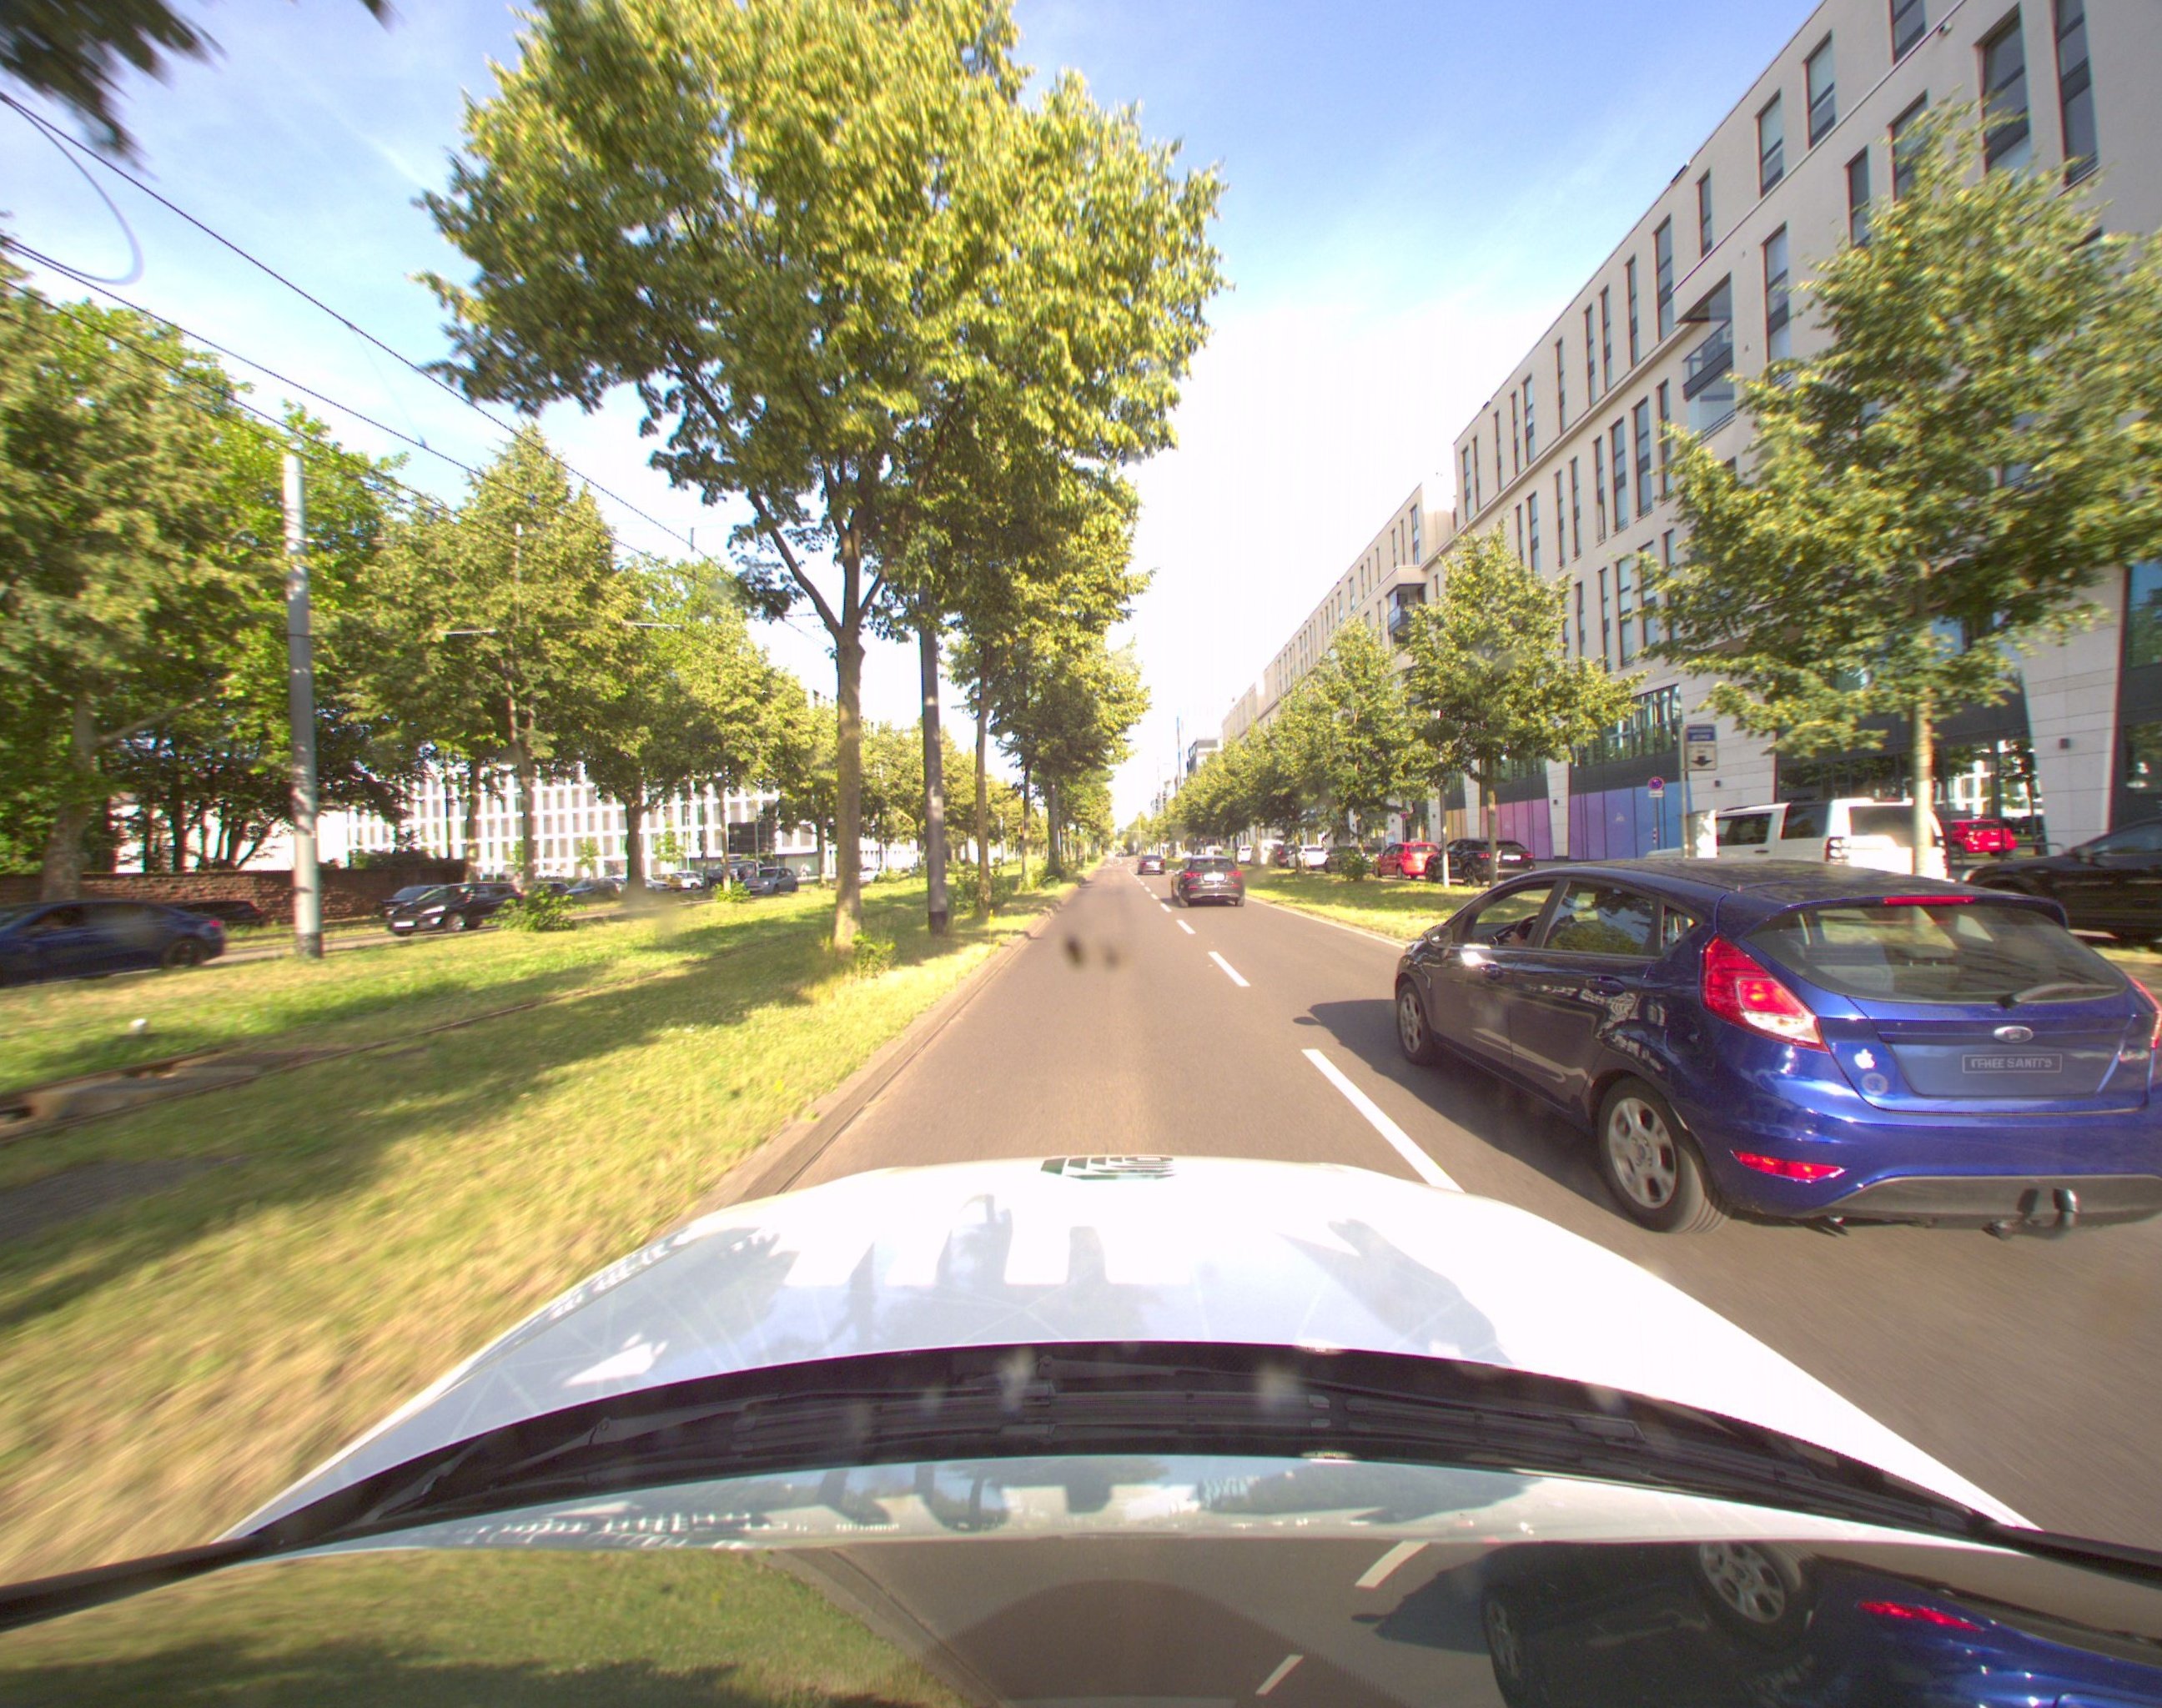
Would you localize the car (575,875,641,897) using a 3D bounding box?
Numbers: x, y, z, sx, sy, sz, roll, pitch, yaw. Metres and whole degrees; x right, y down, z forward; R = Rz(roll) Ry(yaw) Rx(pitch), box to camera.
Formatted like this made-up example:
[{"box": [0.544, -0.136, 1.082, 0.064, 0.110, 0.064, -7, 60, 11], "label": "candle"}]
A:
[{"box": [-33.839, 2.282, 58.312, 3.630, 1.428, 1.811, 0, -1, 4], "label": "car"}]

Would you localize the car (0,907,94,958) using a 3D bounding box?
[{"box": [-34.350, 2.518, 25.618, 1.710, 1.442, 3.916, 0, -1, 4], "label": "car"}]

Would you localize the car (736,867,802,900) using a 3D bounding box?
[{"box": [-15.562, 1.430, 40.836, 1.604, 1.532, 4.134, 0, -1, 2], "label": "car"}]

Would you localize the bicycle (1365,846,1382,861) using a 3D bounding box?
[{"box": [20.738, -0.009, 57.750, 0.417, 1.000, 2.045, -6, -1, 3], "label": "bicycle"}]

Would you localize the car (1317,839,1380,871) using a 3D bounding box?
[{"box": [12.704, 0.081, 39.000, 1.721, 1.432, 4.726, 0, 0, 3], "label": "car"}]

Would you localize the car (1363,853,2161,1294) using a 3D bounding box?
[{"box": [2.998, 0.728, 4.598, 1.554, 1.424, 3.909, 0, -1, 2], "label": "car"}]

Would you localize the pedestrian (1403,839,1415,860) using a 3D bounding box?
[{"box": [23.939, -0.305, 59.438, 0.599, 1.522, 0.510, 0, -1, -27], "label": "pedestrian"}]

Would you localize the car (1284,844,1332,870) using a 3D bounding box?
[{"box": [13.188, 0.188, 47.623, 1.611, 1.412, 4.166, 0, 0, -1], "label": "car"}]

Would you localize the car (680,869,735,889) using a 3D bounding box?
[{"box": [-32.354, 2.166, 70.595, 3.976, 1.643, 1.759, 0, -1, 2], "label": "car"}]

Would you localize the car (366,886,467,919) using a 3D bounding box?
[{"box": [-33.934, 2.461, 41.769, 1.783, 1.442, 4.355, 0, 0, -4], "label": "car"}]

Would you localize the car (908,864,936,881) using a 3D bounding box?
[{"box": [-13.824, 1.615, 70.960, 1.577, 1.393, 3.698, 0, -1, 2], "label": "car"}]

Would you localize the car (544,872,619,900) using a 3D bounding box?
[{"box": [-28.428, 1.794, 46.476, 1.675, 1.435, 4.037, 0, -1, 2], "label": "car"}]

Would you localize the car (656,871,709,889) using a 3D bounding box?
[{"box": [-33.184, 2.184, 67.900, 3.553, 1.425, 1.727, 0, -1, 2], "label": "car"}]

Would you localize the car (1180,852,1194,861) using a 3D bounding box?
[{"box": [16.261, 0.372, 124.980, 1.702, 1.242, 3.906, 0, 0, 1], "label": "car"}]

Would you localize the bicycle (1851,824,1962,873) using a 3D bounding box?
[{"box": [19.412, -0.121, 19.213, 0.508, 1.070, 2.078, -4, -1, 3], "label": "bicycle"}]

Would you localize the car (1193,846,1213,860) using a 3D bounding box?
[{"box": [15.570, -0.118, 104.246, 1.890, 1.708, 4.678, 0, 1, 0], "label": "car"}]

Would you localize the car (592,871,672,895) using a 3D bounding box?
[{"box": [-33.628, 2.181, 61.091, 5.037, 1.735, 1.888, 0, -1, 4], "label": "car"}]

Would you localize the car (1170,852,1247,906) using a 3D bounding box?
[{"box": [3.605, 0.686, 23.600, 1.767, 1.424, 3.963, 0, -1, 3], "label": "car"}]

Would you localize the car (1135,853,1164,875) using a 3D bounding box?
[{"box": [4.803, 0.698, 57.333, 1.852, 1.524, 3.787, 0, -1, 2], "label": "car"}]

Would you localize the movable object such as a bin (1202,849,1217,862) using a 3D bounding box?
[{"box": [13.053, 0.118, 82.740, 1.274, 1.291, 1.177, 0, -1, -2], "label": "movable object such as a bin"}]

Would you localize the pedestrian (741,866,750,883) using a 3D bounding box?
[{"box": [-30.434, 1.862, 73.871, 0.520, 1.480, 0.568, 0, -1, 1], "label": "pedestrian"}]

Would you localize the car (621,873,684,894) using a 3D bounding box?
[{"box": [-33.406, 2.286, 63.542, 3.969, 1.560, 1.858, 0, -1, 4], "label": "car"}]

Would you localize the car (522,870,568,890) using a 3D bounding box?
[{"box": [-70.846, 3.381, 107.762, 1.791, 2.532, 5.053, -1, -1, 18], "label": "car"}]

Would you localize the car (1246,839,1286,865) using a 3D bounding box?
[{"box": [13.654, -0.117, 60.343, 1.832, 1.876, 5.030, 0, -1, -1], "label": "car"}]

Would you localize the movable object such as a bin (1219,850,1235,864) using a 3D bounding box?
[{"box": [13.997, 0.281, 77.942, 1.274, 1.302, 1.191, 0, -1, -2], "label": "movable object such as a bin"}]

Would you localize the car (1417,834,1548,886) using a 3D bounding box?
[{"box": [12.659, 0.192, 26.029, 1.863, 1.491, 4.410, 0, 0, -3], "label": "car"}]

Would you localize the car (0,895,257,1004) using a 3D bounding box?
[{"box": [-16.585, 1.488, 13.146, 1.675, 1.435, 4.673, 0, 0, 2], "label": "car"}]

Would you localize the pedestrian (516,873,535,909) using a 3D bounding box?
[{"box": [-22.934, 1.532, 33.619, 0.385, 1.476, 0.602, 0, -1, 1], "label": "pedestrian"}]

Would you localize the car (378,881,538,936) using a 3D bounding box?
[{"box": [-18.856, 1.588, 24.900, 1.675, 1.435, 4.037, 0, -1, 2], "label": "car"}]

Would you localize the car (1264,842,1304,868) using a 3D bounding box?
[{"box": [13.377, 0.090, 53.846, 1.721, 1.650, 4.342, 0, -1, 3], "label": "car"}]

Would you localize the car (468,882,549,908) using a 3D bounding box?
[{"box": [-34.254, 2.422, 48.788, 3.834, 1.486, 1.748, 0, -1, 9], "label": "car"}]

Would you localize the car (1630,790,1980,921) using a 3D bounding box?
[{"box": [12.075, 0.038, 14.177, 1.887, 1.874, 4.846, 0, -1, 2], "label": "car"}]

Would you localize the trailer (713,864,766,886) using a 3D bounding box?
[{"box": [-33.227, 2.013, 79.305, 4.343, 2.054, 1.760, 0, -1, 5], "label": "trailer"}]

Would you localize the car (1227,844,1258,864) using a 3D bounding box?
[{"box": [14.010, 0.017, 70.891, 1.725, 1.630, 4.849, -2, 0, -1], "label": "car"}]

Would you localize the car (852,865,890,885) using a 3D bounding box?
[{"box": [-17.250, 1.714, 67.120, 1.675, 1.476, 4.815, -4, -1, 2], "label": "car"}]

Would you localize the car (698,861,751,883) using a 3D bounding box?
[{"box": [-32.338, 1.652, 73.981, 3.976, 1.947, 1.759, 0, -1, 2], "label": "car"}]

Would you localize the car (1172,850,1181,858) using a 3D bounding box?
[{"box": [17.109, 0.026, 146.036, 1.598, 1.370, 4.165, 0, -1, 7], "label": "car"}]

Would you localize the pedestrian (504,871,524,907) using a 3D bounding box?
[{"box": [-23.421, 1.446, 33.652, 0.385, 1.476, 0.602, 0, -1, 1], "label": "pedestrian"}]

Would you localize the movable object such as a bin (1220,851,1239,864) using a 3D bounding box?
[{"box": [13.962, 0.310, 76.413, 1.385, 1.237, 1.344, -1, -1, 29], "label": "movable object such as a bin"}]

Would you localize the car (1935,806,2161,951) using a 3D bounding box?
[{"box": [11.975, 0.247, 8.469, 1.755, 1.488, 4.209, 0, -1, -1], "label": "car"}]

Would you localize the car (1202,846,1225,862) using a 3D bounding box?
[{"box": [14.918, -0.016, 91.998, 1.821, 1.711, 4.295, 0, -1, -1], "label": "car"}]

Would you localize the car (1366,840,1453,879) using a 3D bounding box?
[{"box": [12.796, 0.225, 31.958, 1.723, 1.432, 4.113, 0, -1, -1], "label": "car"}]
